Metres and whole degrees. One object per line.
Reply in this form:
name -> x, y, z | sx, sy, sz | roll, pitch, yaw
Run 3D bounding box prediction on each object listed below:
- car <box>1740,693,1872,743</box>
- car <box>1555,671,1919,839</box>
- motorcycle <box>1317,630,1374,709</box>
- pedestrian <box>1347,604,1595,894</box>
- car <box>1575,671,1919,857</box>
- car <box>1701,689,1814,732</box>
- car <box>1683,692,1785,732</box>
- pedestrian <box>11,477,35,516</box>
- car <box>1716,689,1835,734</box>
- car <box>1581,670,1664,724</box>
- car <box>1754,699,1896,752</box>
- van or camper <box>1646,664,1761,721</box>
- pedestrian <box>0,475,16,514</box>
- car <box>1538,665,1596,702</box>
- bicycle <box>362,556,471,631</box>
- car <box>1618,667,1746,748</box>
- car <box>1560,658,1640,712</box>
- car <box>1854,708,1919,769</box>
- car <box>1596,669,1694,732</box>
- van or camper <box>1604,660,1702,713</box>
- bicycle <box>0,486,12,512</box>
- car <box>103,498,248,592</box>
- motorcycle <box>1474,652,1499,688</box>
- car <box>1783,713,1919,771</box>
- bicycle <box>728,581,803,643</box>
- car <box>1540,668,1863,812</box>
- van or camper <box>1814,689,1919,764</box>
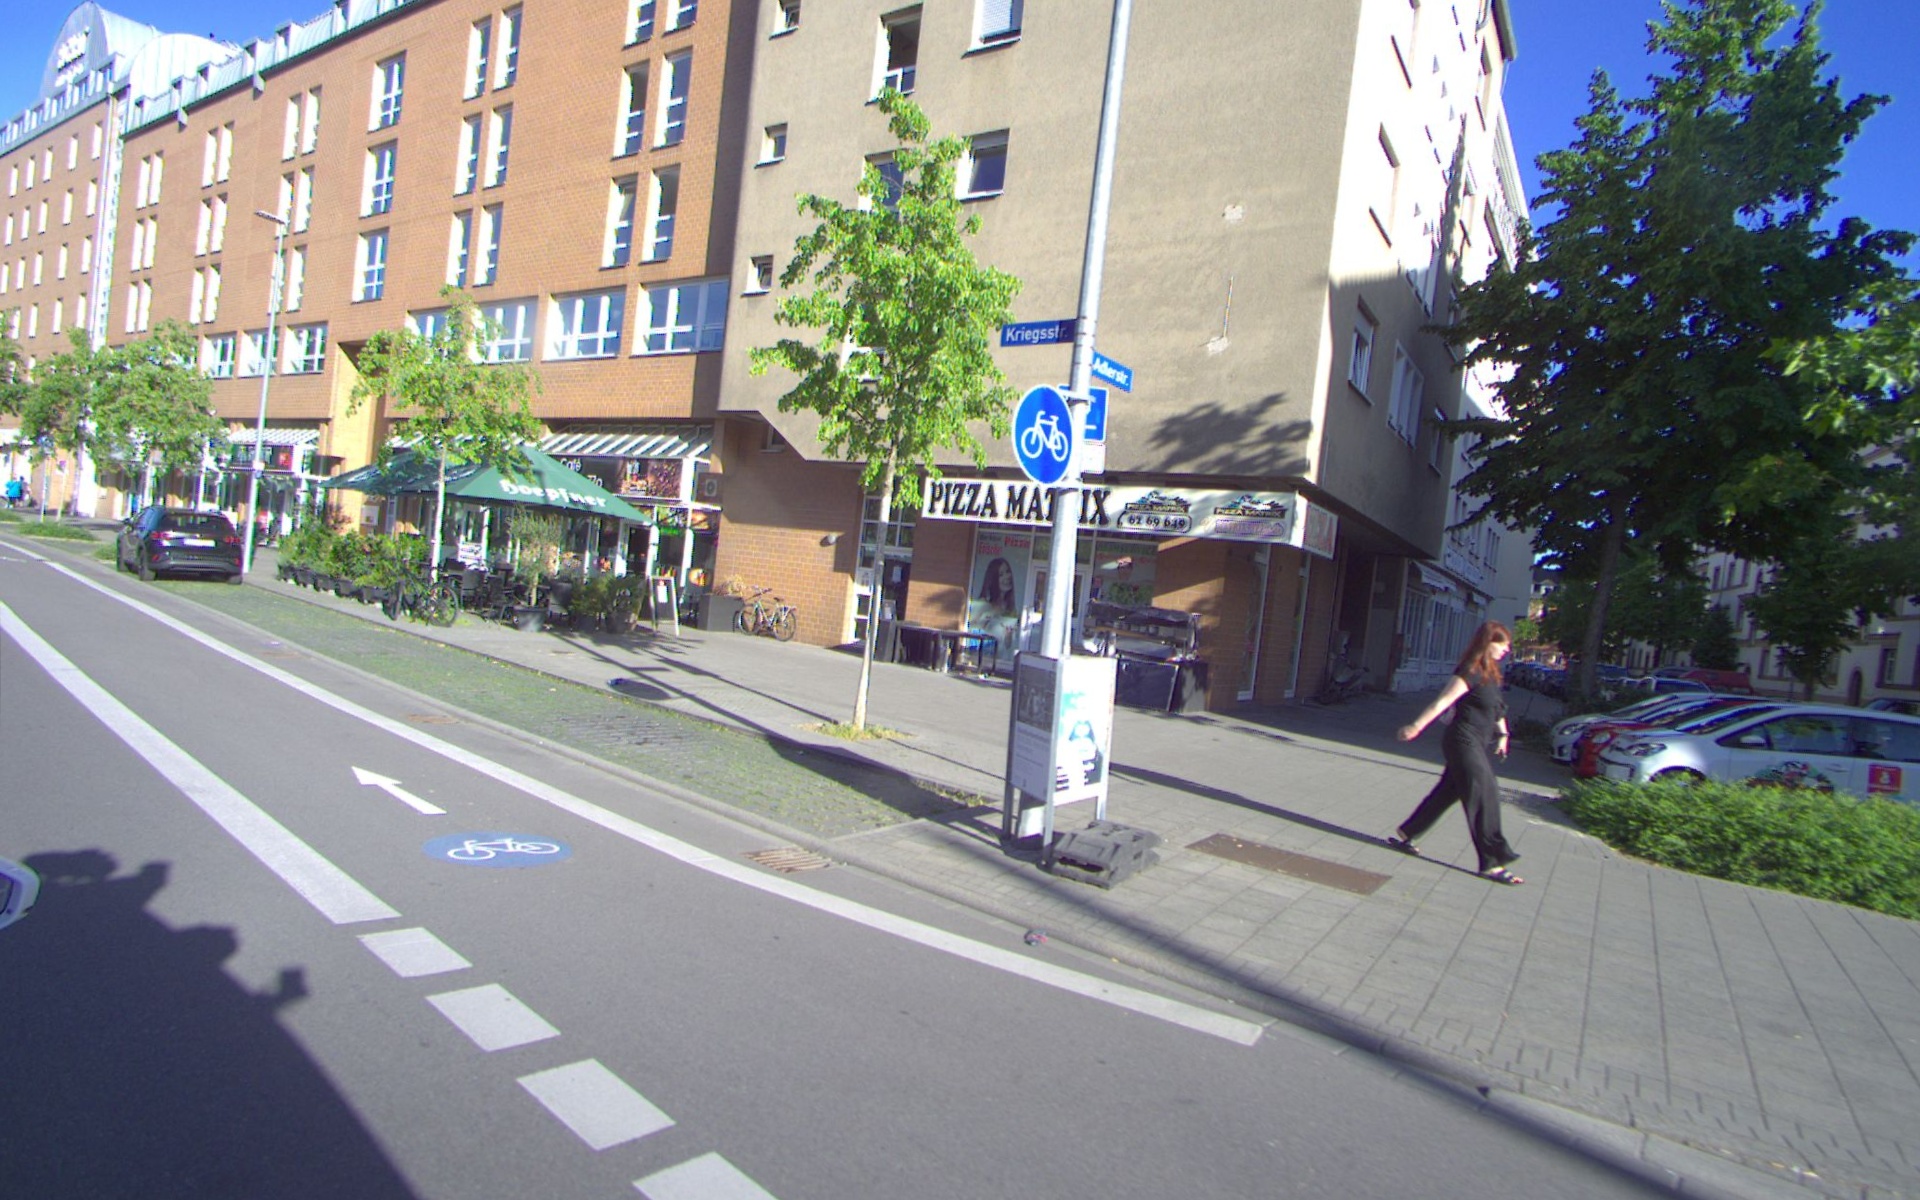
car -> 36.352, 5.034, 43.348 | 3.929, 1.453, 1.695 | 8, -1, 27
car -> 10.244, 1.962, 13.471 | 3.590, 1.470, 1.637 | 8, -1, 25
motorcycle -> 8.641, 1.555, 22.505 | 0.642, 1.627, 2.261 | 8, 1, 31
pedestrian -> 3.543, 0.983, 7.056 | 0.875, 1.787, 1.098 | 4, 2, -25
car -> 9.378, 1.834, 11.365 | 3.767, 1.492, 1.668 | 8, -1, 23
car -> 39.080, 5.405, 49.425 | 3.929, 1.453, 1.695 | 8, -1, 27
car -> 41.429, 5.965, 53.940 | 3.929, 1.453, 1.695 | 8, -1, 27
pedestrian -> -47.001, -5.194, 50.443 | 0.736, 1.844, 0.606 | 7, 2, 34
car -> 38.129, 5.188, 47.146 | 3.929, 1.453, 1.695 | 8, -1, 27
car -> 24.232, 3.553, 36.926 | 1.761, 1.607, 4.000 | 8, -1, 25
car -> 34.979, 5.051, 40.810 | 3.929, 1.453, 1.695 | 8, -1, 27
van or camper -> 43.315, 5.362, 58.748 | 4.797, 2.558, 1.820 | 8, 0, 22
pedestrian -> -46.954, -5.197, 49.428 | 0.736, 1.844, 0.606 | 7, 2, 34
car -> 30.363, 4.183, 50.430 | 1.752, 1.525, 4.001 | 8, -1, 23
bicycle -> -9.293, -0.137, 17.176 | 1.965, 1.097, 0.764 | 6, 5, 31
car -> 20.194, 2.938, 28.346 | 1.964, 1.720, 4.392 | 8, 1, 25
car -> 25.994, 3.456, 41.003 | 1.897, 1.820, 4.181 | 8, -1, 23
car -> 30.657, 4.522, 31.165 | 3.928, 1.699, 1.741 | 8, -1, 25
car -> 22.119, 3.243, 32.661 | 1.793, 1.659, 4.000 | 8, -1, 25
van or camper -> 46.260, 5.735, 67.287 | 4.797, 2.752, 1.820 | 8, 0, 22
bicycle -> -42.703, -4.493, 43.841 | 1.938, 1.088, 0.618 | 5, 2, -44
car -> -17.499, -1.254, 22.376 | 4.171, 1.658, 1.718 | 7, 2, 41
motorcycle -> 21.216, 2.824, 40.535 | 0.642, 1.338, 2.261 | 8, 1, 31
car -> 32.812, 5.175, 36.686 | 3.929, 1.453, 1.695 | 8, -1, 27
bicycle -> -4.307, 0.271, 22.207 | 1.511, 1.185, 0.614 | 8, 3, 31
car -> 11.278, 2.089, 15.645 | 3.669, 1.472, 1.636 | 8, -1, 28
van or camper -> 32.079, 4.422, 33.668 | 4.801, 2.122, 1.819 | 8, -1, 27
